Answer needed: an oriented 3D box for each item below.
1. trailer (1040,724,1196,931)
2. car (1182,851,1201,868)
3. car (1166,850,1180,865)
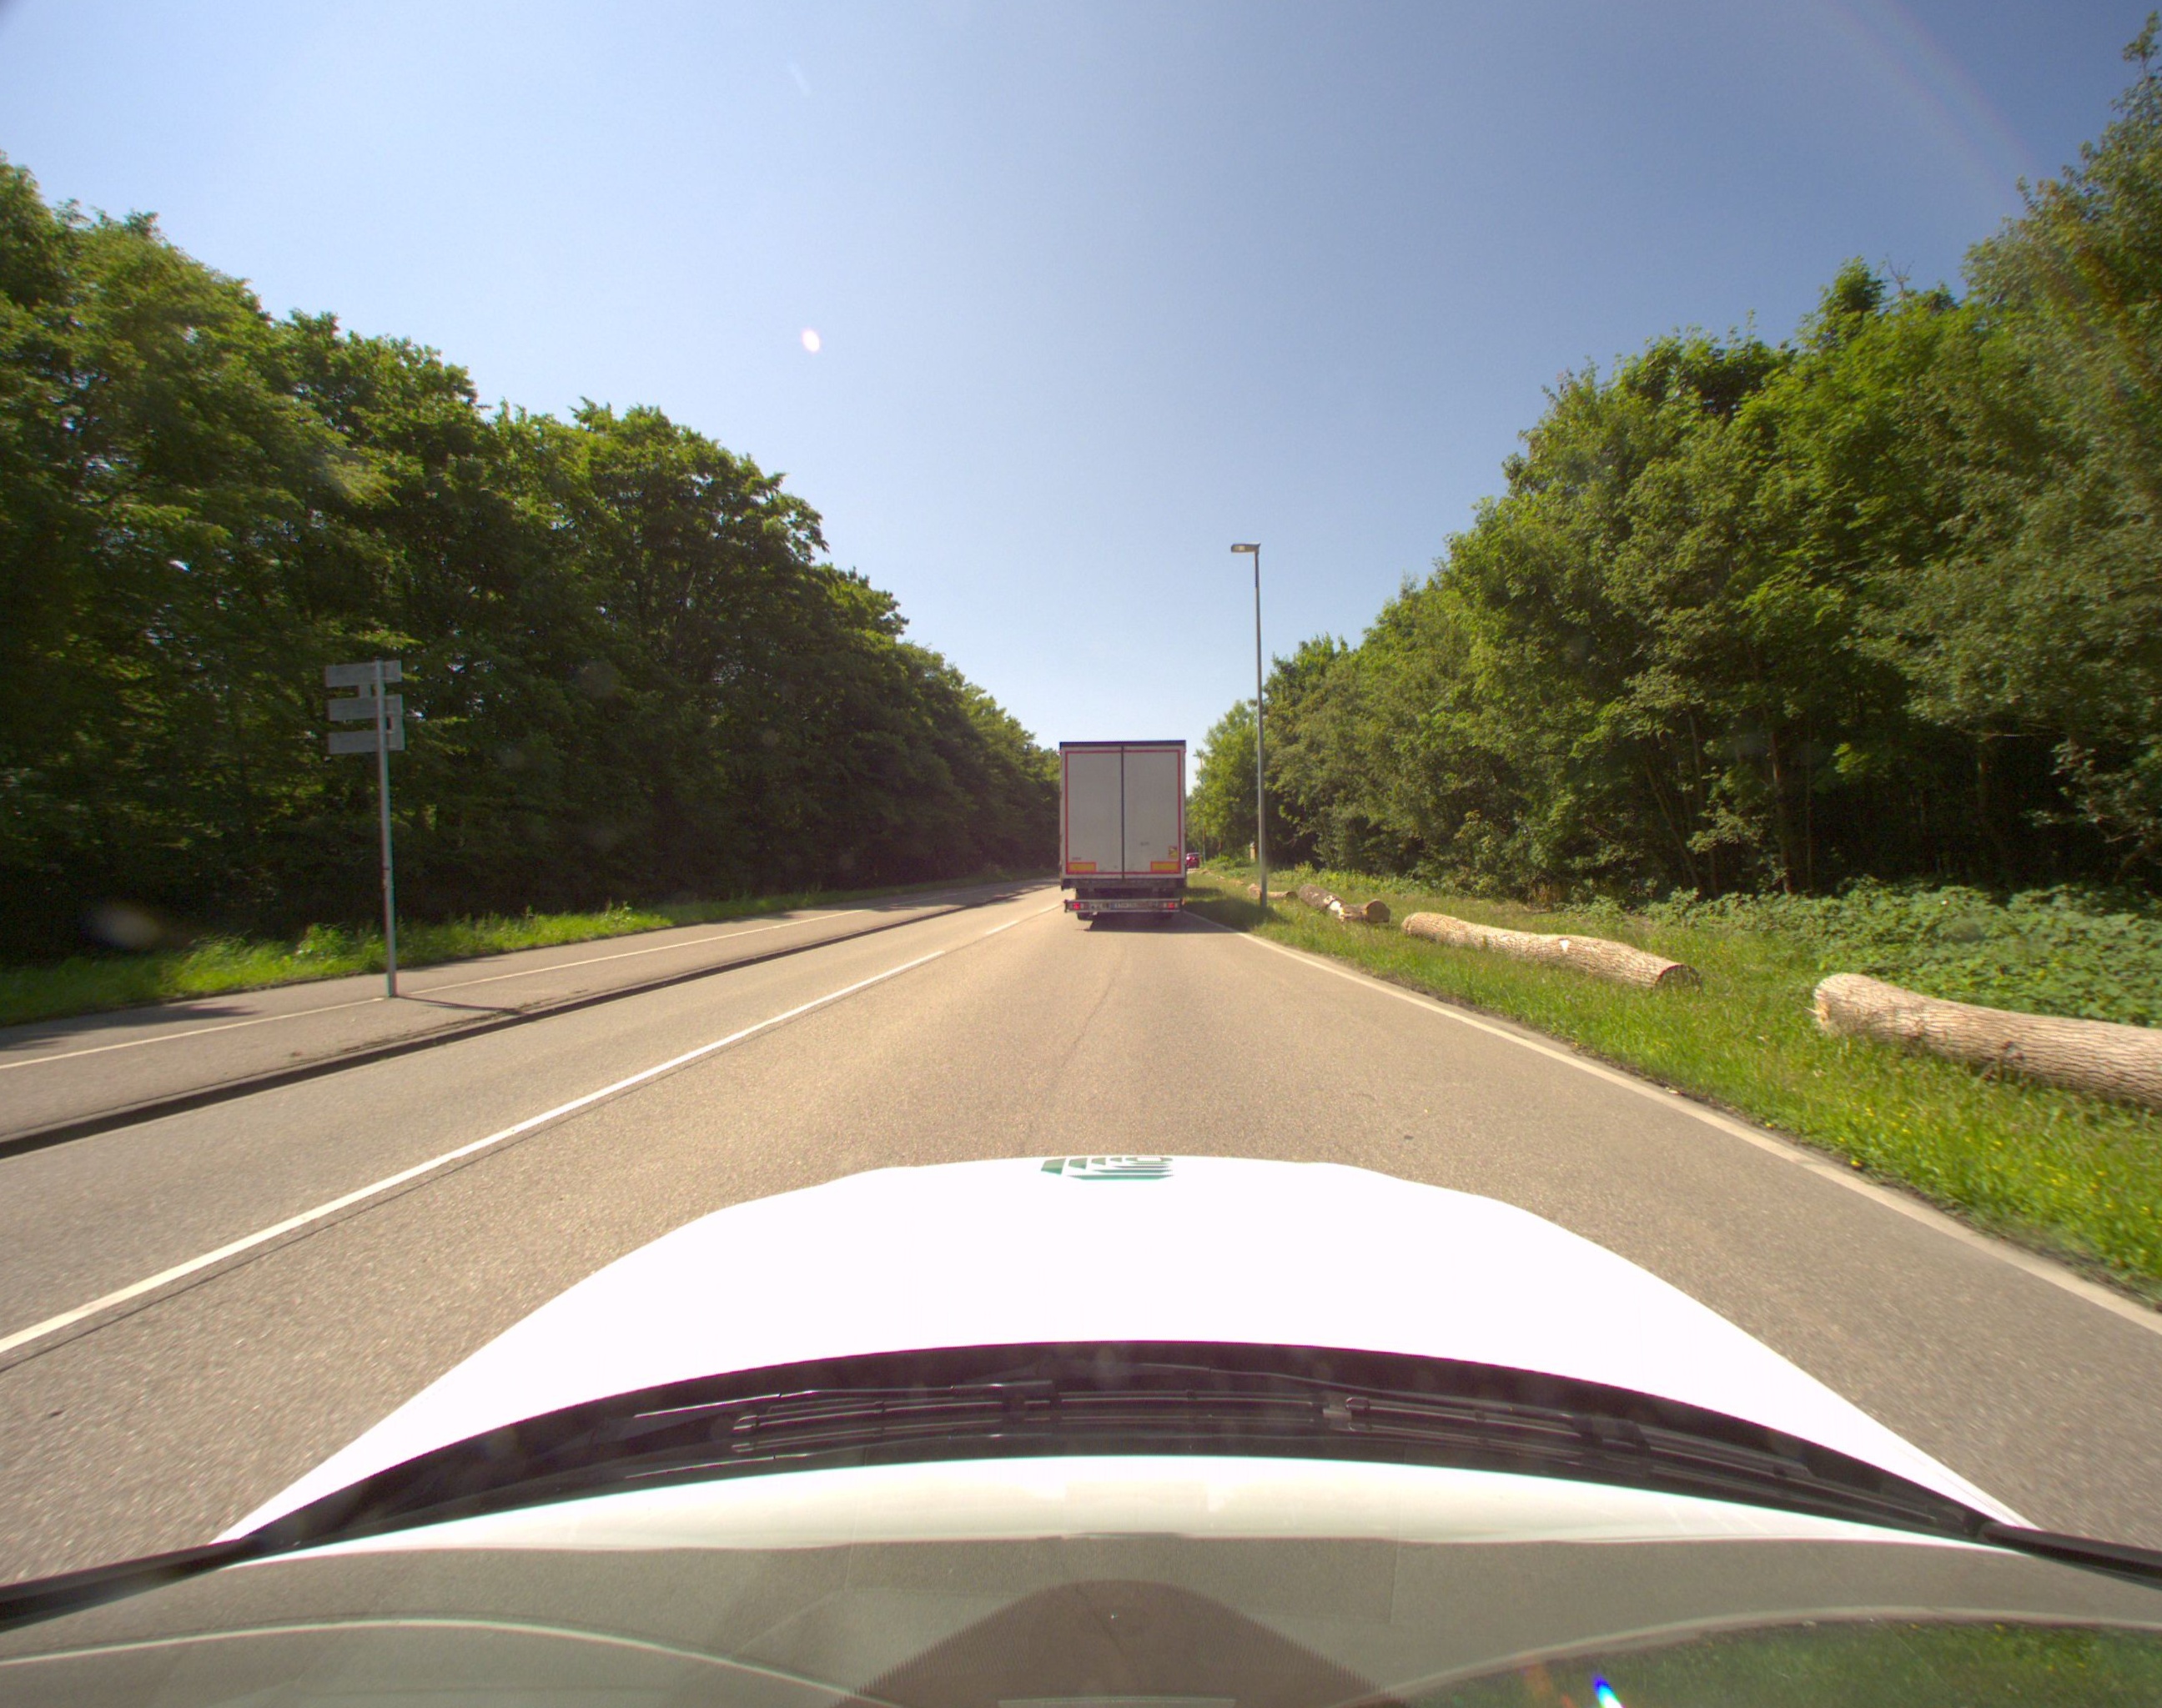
[{"bbox_3d":[0.800,-0.531,21.012,3.067,4.069,9.809,0,0,1],"label":"trailer"},{"bbox_3d":[10.652,0.504,78.833,1.702,1.530,3.857,-1,0,6],"label":"car"},{"bbox_3d":[13.718,0.505,121.309,1.983,2.013,4.007,-2,0,6],"label":"car"}]
